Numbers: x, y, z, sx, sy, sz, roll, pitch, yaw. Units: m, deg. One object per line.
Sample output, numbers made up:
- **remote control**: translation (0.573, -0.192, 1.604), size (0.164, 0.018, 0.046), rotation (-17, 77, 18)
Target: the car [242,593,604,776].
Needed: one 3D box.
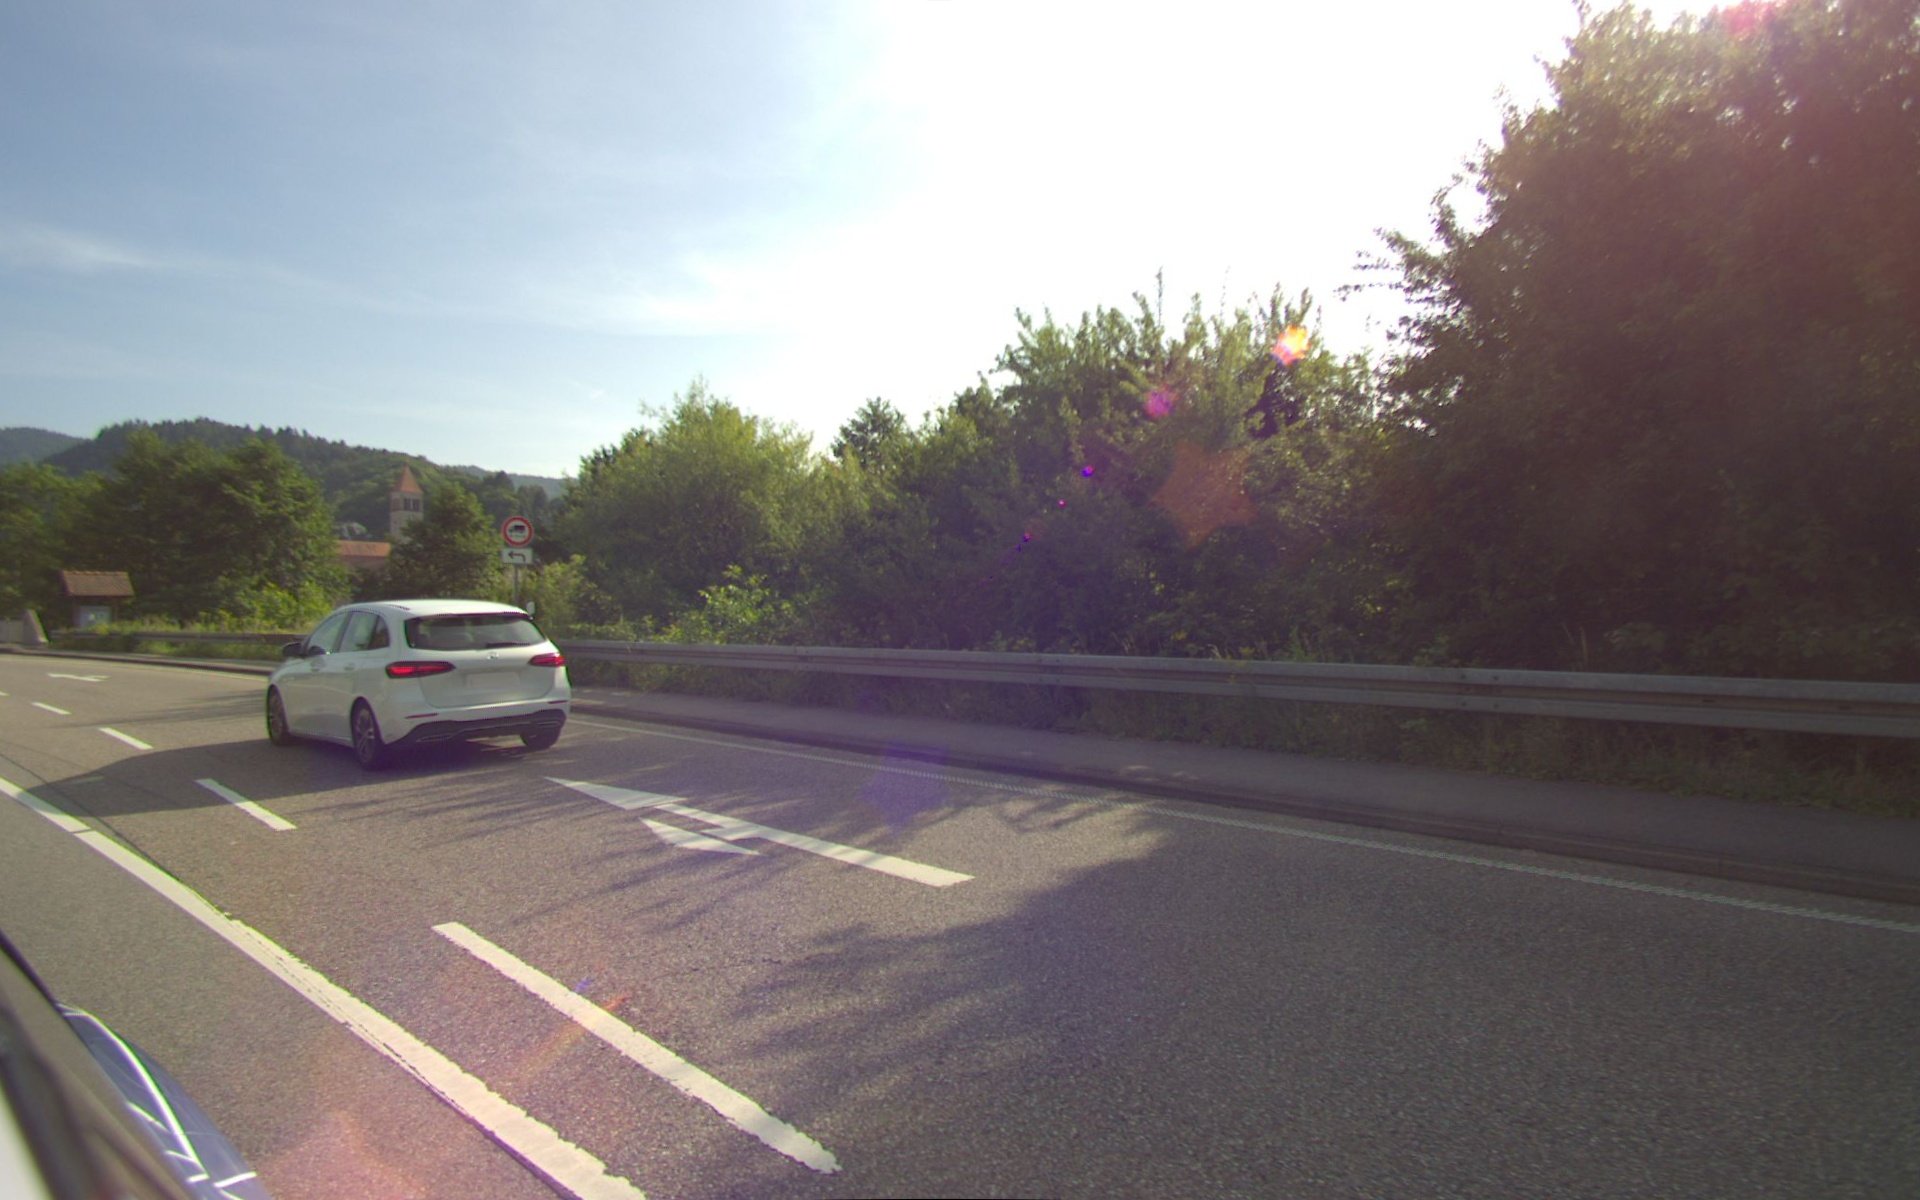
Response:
- **car**: translation (-5.797, 0.743, 10.649), size (4.584, 1.497, 1.924), rotation (-2, -1, 42)
